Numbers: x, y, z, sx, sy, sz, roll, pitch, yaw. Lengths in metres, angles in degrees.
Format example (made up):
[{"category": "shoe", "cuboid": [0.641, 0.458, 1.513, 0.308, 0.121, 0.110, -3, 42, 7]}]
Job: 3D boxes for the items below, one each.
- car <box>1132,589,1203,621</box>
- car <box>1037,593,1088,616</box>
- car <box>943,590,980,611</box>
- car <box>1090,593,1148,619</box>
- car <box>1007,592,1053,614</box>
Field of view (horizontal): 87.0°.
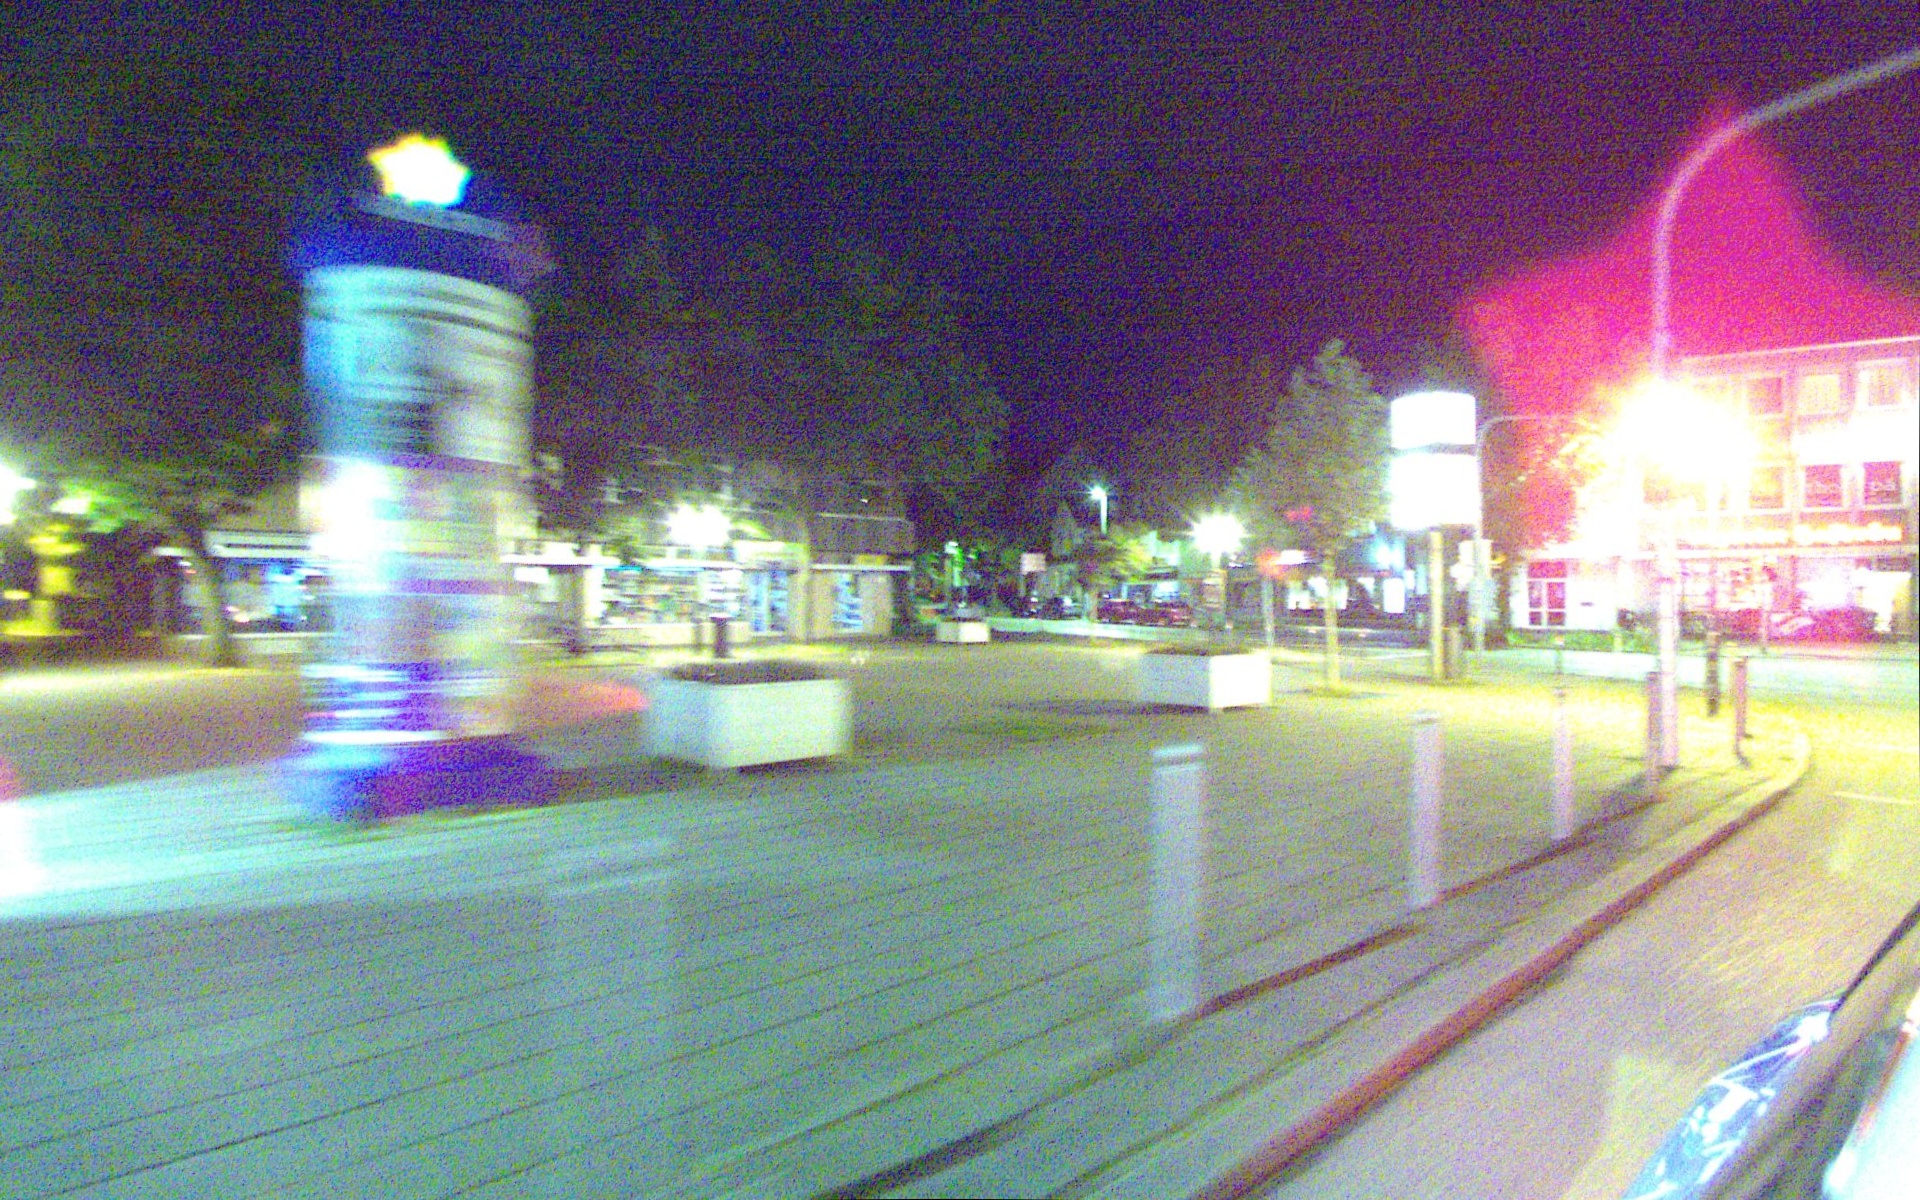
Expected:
[{"category": "car", "cuboid": [11.587, 0.252, 56.684, 1.836, 1.674, 3.869, 2, 0, -27]}, {"category": "car", "cuboid": [6.885, 0.276, 68.169, 1.855, 1.471, 3.903, 2, 0, -20]}, {"category": "car", "cuboid": [0.120, 0.022, 85.081, 1.970, 1.646, 3.903, 2, 0, -17]}, {"category": "car", "cuboid": [9.545, 0.340, 61.102, 1.855, 1.471, 3.903, 2, 0, -17]}, {"category": "car", "cuboid": [5.003, 0.224, 72.771, 1.855, 1.471, 3.903, 2, 0, -20]}]
